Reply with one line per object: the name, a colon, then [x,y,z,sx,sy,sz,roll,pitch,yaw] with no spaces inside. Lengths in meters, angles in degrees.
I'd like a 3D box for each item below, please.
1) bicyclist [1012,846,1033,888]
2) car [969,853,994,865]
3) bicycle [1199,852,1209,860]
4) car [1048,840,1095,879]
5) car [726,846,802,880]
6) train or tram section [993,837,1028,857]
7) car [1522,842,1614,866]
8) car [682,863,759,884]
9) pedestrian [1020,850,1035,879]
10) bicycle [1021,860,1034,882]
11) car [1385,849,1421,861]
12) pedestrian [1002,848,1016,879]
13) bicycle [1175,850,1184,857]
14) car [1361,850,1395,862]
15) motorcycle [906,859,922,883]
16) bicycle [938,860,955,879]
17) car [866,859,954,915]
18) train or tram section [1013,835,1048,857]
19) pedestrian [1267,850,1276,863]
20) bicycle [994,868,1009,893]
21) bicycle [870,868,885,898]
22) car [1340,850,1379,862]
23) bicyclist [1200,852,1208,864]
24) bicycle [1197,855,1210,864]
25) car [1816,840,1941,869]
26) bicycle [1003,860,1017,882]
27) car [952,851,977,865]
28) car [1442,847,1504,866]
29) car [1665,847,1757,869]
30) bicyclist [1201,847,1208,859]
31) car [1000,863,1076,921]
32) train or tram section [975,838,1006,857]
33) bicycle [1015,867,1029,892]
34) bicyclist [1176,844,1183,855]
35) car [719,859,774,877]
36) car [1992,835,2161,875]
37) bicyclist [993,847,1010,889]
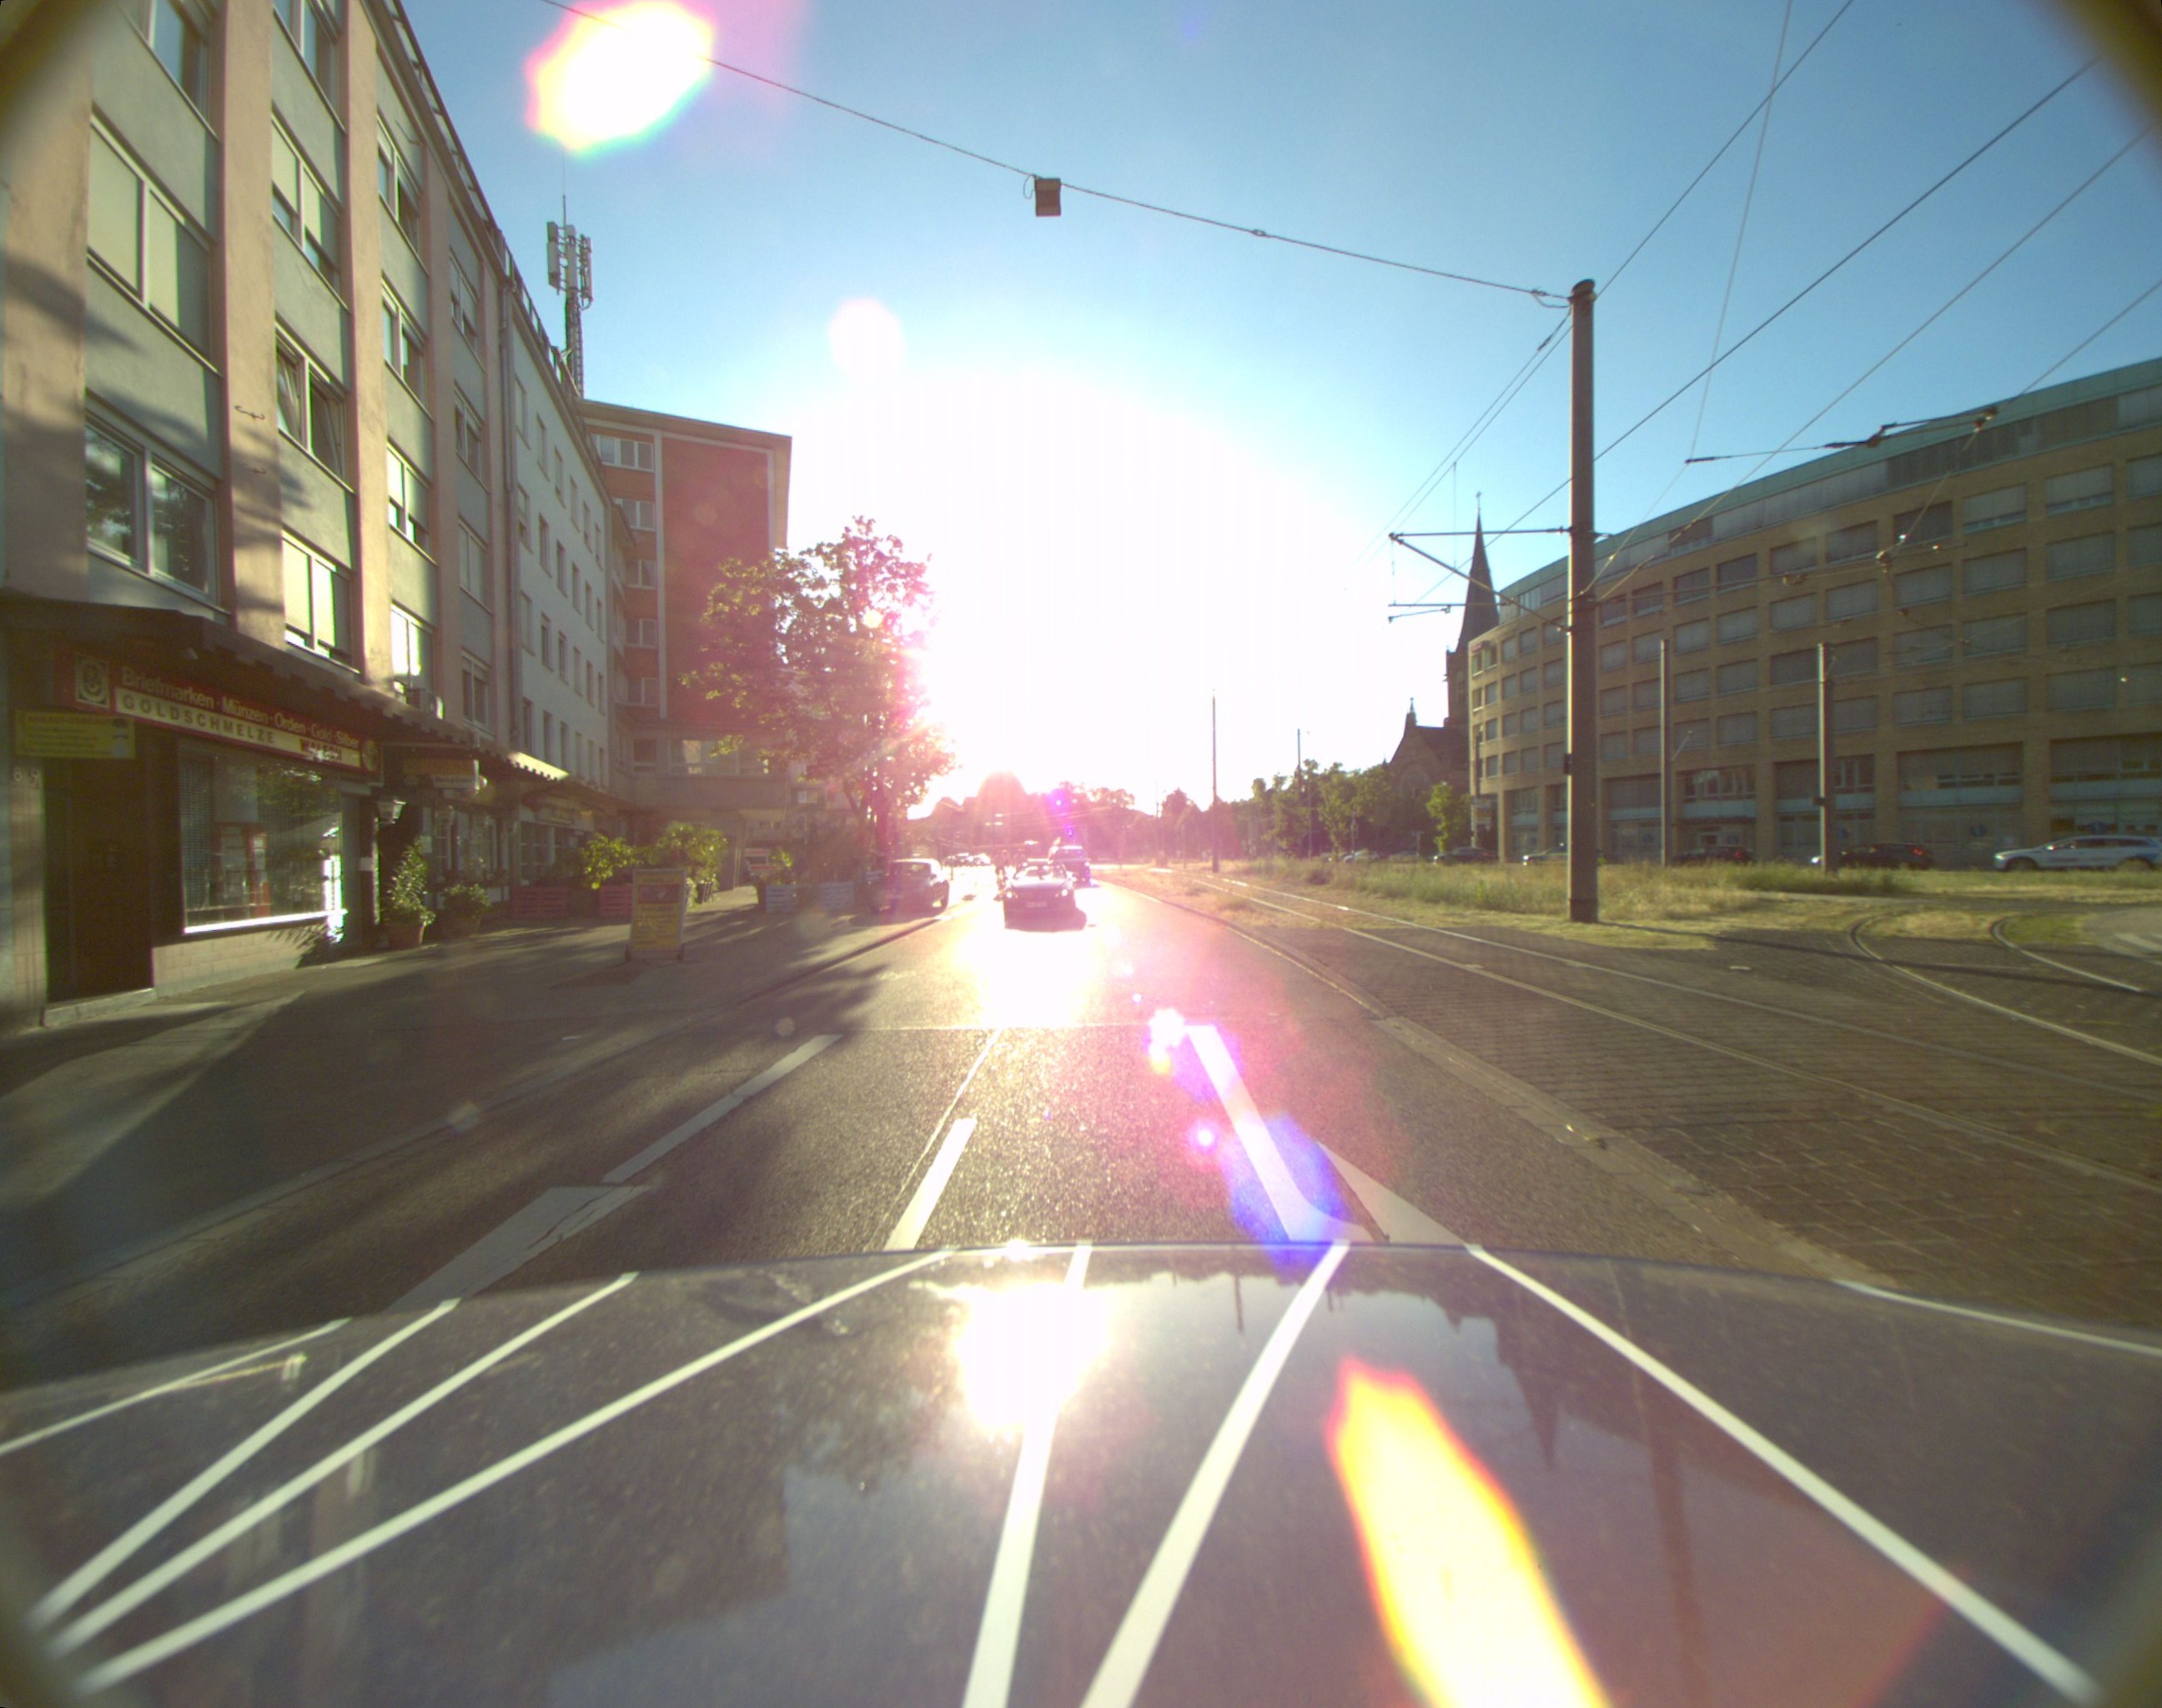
bicyclist: [-2.565,0.569,33.359,0.829,1.797,1.056,-1,1,-7]
car: [-12.775,0.634,97.490,1.845,1.393,4.574,-4,1,-25]
bicycle: [18.299,0.302,112.838,0.460,1.020,1.927,-3,1,-22]
car: [-0.604,0.273,41.367,1.921,1.978,4.943,-1,0,-8]
car: [-24.509,0.648,58.949,5.272,2.468,1.922,-1,0,-22]
train or tram section: [-13.527,-1.278,143.810,2.785,3.515,13.226,-2,0,-23]
car: [31.485,-0.008,49.267,1.897,1.472,4.772,-1,0,-25]
car: [-25.233,1.363,53.373,4.681,1.333,1.837,-1,0,-20]
pedestrian: [-3.110,0.609,44.187,0.679,1.639,0.901,-2,1,-10]
bicycle: [-3.105,0.981,44.241,0.530,1.152,1.847,-3,1,-10]
car: [40.604,0.120,95.694,4.004,1.412,1.899,-1,0,-22]
pedestrian: [-3.986,0.524,42.043,0.640,1.639,0.842,-2,1,-10]
bicycle: [15.744,-0.107,121.335,0.526,1.020,1.927,-5,1,-22]
car: [38.439,0.249,98.272,4.004,1.575,1.822,-1,0,-22]
motorcycle: [-8.991,0.881,40.877,0.668,1.235,2.198,-1,0,-16]
bicycle: [-8.233,0.948,46.458,0.647,1.120,1.871,-1,-1,-20]
car: [-4.983,0.913,22.667,1.732,1.463,3.898,1,0,0]
train or tram section: [-8.949,-1.327,132.840,2.785,3.515,10.550,-2,0,-23]
pedestrian: [24.119,0.288,96.184,0.739,1.663,0.716,-1,0,-19]
bicycle: [-3.476,1.139,33.085,0.577,1.022,1.855,-1,0,-7]
bicycle: [-8.367,1.178,31.243,0.422,1.151,1.752,-1,-1,-20]
car: [32.885,0.252,89.872,4.003,1.412,1.899,-1,0,-19]
bicyclist: [16.828,0.524,104.076,0.522,1.574,0.818,-3,1,-40]
bicycle: [16.820,0.792,104.098,0.460,1.139,1.914,-3,1,-41]
car: [37.363,0.041,35.691,1.653,1.274,3.732,-1,0,-25]
bicycle: [-3.934,0.919,41.963,0.530,1.152,1.847,-3,1,-10]
car: [-16.084,0.584,104.506,1.959,1.702,4.841,-4,1,-25]
car: [28.865,0.178,56.056,1.732,1.275,3.782,-1,0,-22]
car: [34.450,0.218,41.659,1.527,1.147,3.591,-1,0,-24]
bicyclist: [18.330,-0.160,112.728,0.575,1.671,0.893,-3,1,-23]
car: [-1.051,0.932,20.384,1.776,1.300,4.240,-1,0,0]
train or tram section: [-18.623,-1.266,155.997,2.785,3.515,13.226,-2,0,-23]
bicycle: [-2.611,1.104,33.367,0.480,1.022,1.980,-1,0,-7]
bicyclist: [15.721,-0.686,121.323,0.575,1.817,0.893,-3,1,-23]
car: [-26.952,1.115,61.357,4.004,1.368,1.802,-1,1,-22]
car: [39.930,0.033,30.347,1.779,1.473,4.299,-1,0,-30]
bicyclist: [-3.476,0.608,33.028,0.676,1.797,0.993,-1,1,-7]
